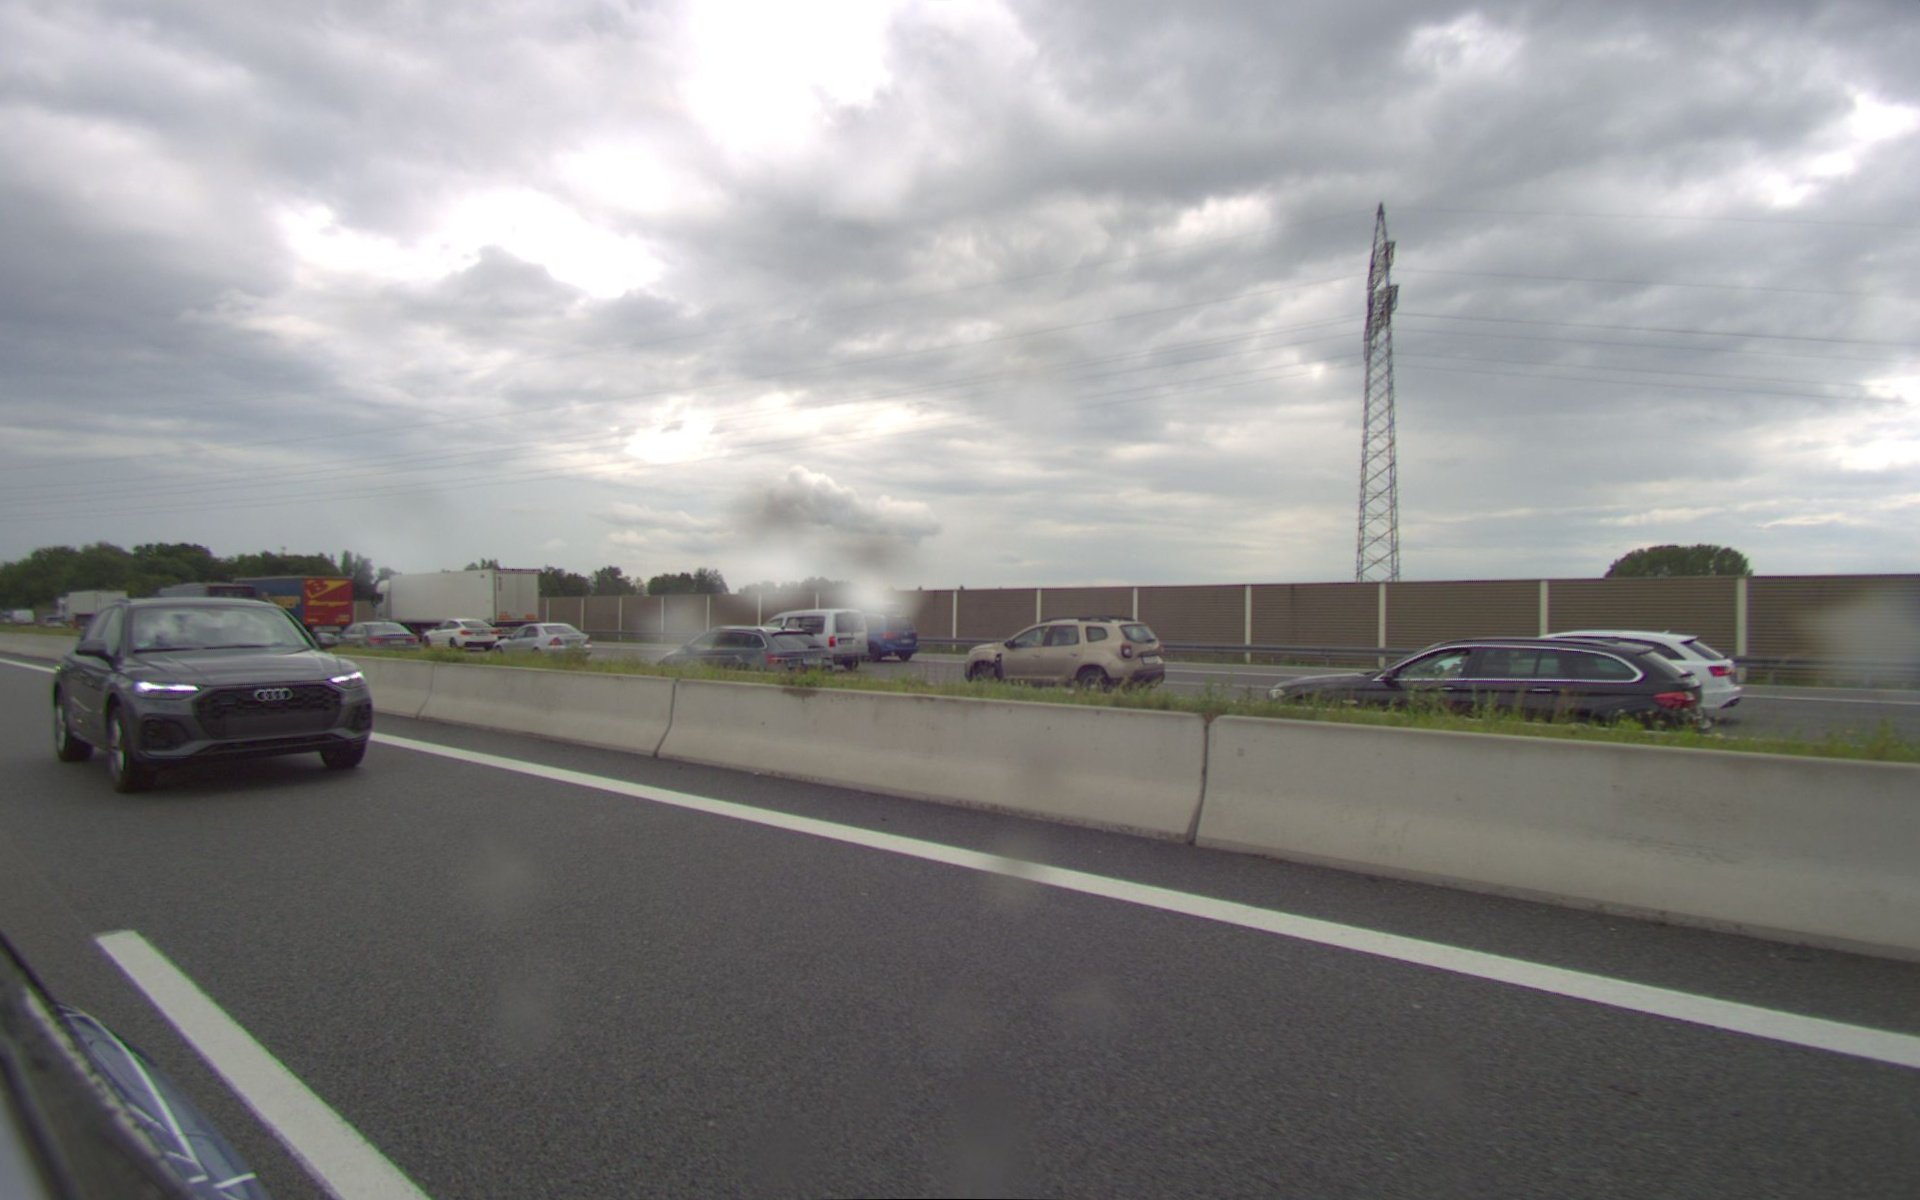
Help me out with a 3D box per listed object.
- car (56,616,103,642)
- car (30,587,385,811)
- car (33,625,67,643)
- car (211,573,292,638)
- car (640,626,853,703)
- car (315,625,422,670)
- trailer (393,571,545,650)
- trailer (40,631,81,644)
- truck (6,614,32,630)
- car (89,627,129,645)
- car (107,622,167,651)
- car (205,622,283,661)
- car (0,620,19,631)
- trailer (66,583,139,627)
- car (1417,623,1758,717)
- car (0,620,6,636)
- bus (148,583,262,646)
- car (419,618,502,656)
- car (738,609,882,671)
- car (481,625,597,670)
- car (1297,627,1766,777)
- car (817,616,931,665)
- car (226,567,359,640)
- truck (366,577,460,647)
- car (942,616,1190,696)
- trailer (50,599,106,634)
[{"bbox_3d":[-59.813,1.960,68.710,4.292,1.678,1.769,-1,0,40],"label":"car"},{"bbox_3d":[-7.730,0.796,10.157,5.167,1.704,1.888,-1,-1,42],"label":"car"},{"bbox_3d":[-87.122,3.238,96.901,4.560,1.574,1.770,-1,0,39],"label":"car"},{"bbox_3d":[-47.689,0.393,68.073,6.037,4.181,2.953,-1,0,40],"label":"car"},{"bbox_3d":[-4.589,1.270,21.280,4.857,1.392,1.769,-1,0,40],"label":"car"},{"bbox_3d":[-20.804,1.623,35.521,4.857,1.437,1.699,-1,0,40],"label":"car"},{"bbox_3d":[-28.307,0.634,57.865,12.688,4.147,2.871,-1,0,40],"label":"trailer"},{"bbox_3d":[-83.514,3.435,93.935,4.754,1.078,2.072,-1,0,39],"label":"trailer"},{"bbox_3d":[-142.838,3.337,153.552,6.258,2.470,2.081,-1,0,40],"label":"truck"},{"bbox_3d":[-70.535,2.968,83.876,4.561,1.466,1.769,-1,0,40],"label":"car"},{"bbox_3d":[-46.241,2.038,56.838,4.561,1.545,1.769,-1,0,40],"label":"car"},{"bbox_3d":[-30.377,1.742,42.901,4.209,1.535,1.699,-1,0,40],"label":"car"},{"bbox_3d":[-130.935,3.499,139.080,4.560,1.480,1.770,-1,0,39],"label":"car"},{"bbox_3d":[-86.902,0.571,102.453,13.391,4.139,3.622,-1,0,41],"label":"trailer"},{"bbox_3d":[10.787,1.117,17.647,4.857,1.392,1.769,-1,0,40],"label":"car"},{"bbox_3d":[-118.962,3.432,124.172,6.084,1.983,2.256,-1,0,42],"label":"car"},{"bbox_3d":[-47.319,0.913,63.215,12.748,3.638,2.861,-1,0,40],"label":"bus"},{"bbox_3d":[-23.149,1.677,46.835,4.578,1.603,1.769,-1,0,40],"label":"car"},{"bbox_3d":[-4.648,1.180,31.026,4.574,1.753,1.772,-1,0,40],"label":"car"},{"bbox_3d":[-14.751,1.600,35.361,4.857,1.437,1.699,-1,0,40],"label":"car"},{"bbox_3d":[6.564,1.045,11.957,4.585,1.392,1.769,-1,0,40],"label":"car"},{"bbox_3d":[-3.118,1.415,36.221,3.952,1.609,1.769,-1,0,40],"label":"car"},{"bbox_3d":[-42.028,0.279,63.347,14.383,4.155,2.952,-1,0,40],"label":"car"},{"bbox_3d":[-33.849,0.746,62.538,6.617,4.147,2.871,-1,0,40],"label":"truck"},{"bbox_3d":[2.046,1.059,20.524,4.857,1.392,1.769,-1,0,40],"label":"car"},{"bbox_3d":[-115.084,2.165,131.933,12.457,4.269,3.623,-1,0,40],"label":"trailer"}]
